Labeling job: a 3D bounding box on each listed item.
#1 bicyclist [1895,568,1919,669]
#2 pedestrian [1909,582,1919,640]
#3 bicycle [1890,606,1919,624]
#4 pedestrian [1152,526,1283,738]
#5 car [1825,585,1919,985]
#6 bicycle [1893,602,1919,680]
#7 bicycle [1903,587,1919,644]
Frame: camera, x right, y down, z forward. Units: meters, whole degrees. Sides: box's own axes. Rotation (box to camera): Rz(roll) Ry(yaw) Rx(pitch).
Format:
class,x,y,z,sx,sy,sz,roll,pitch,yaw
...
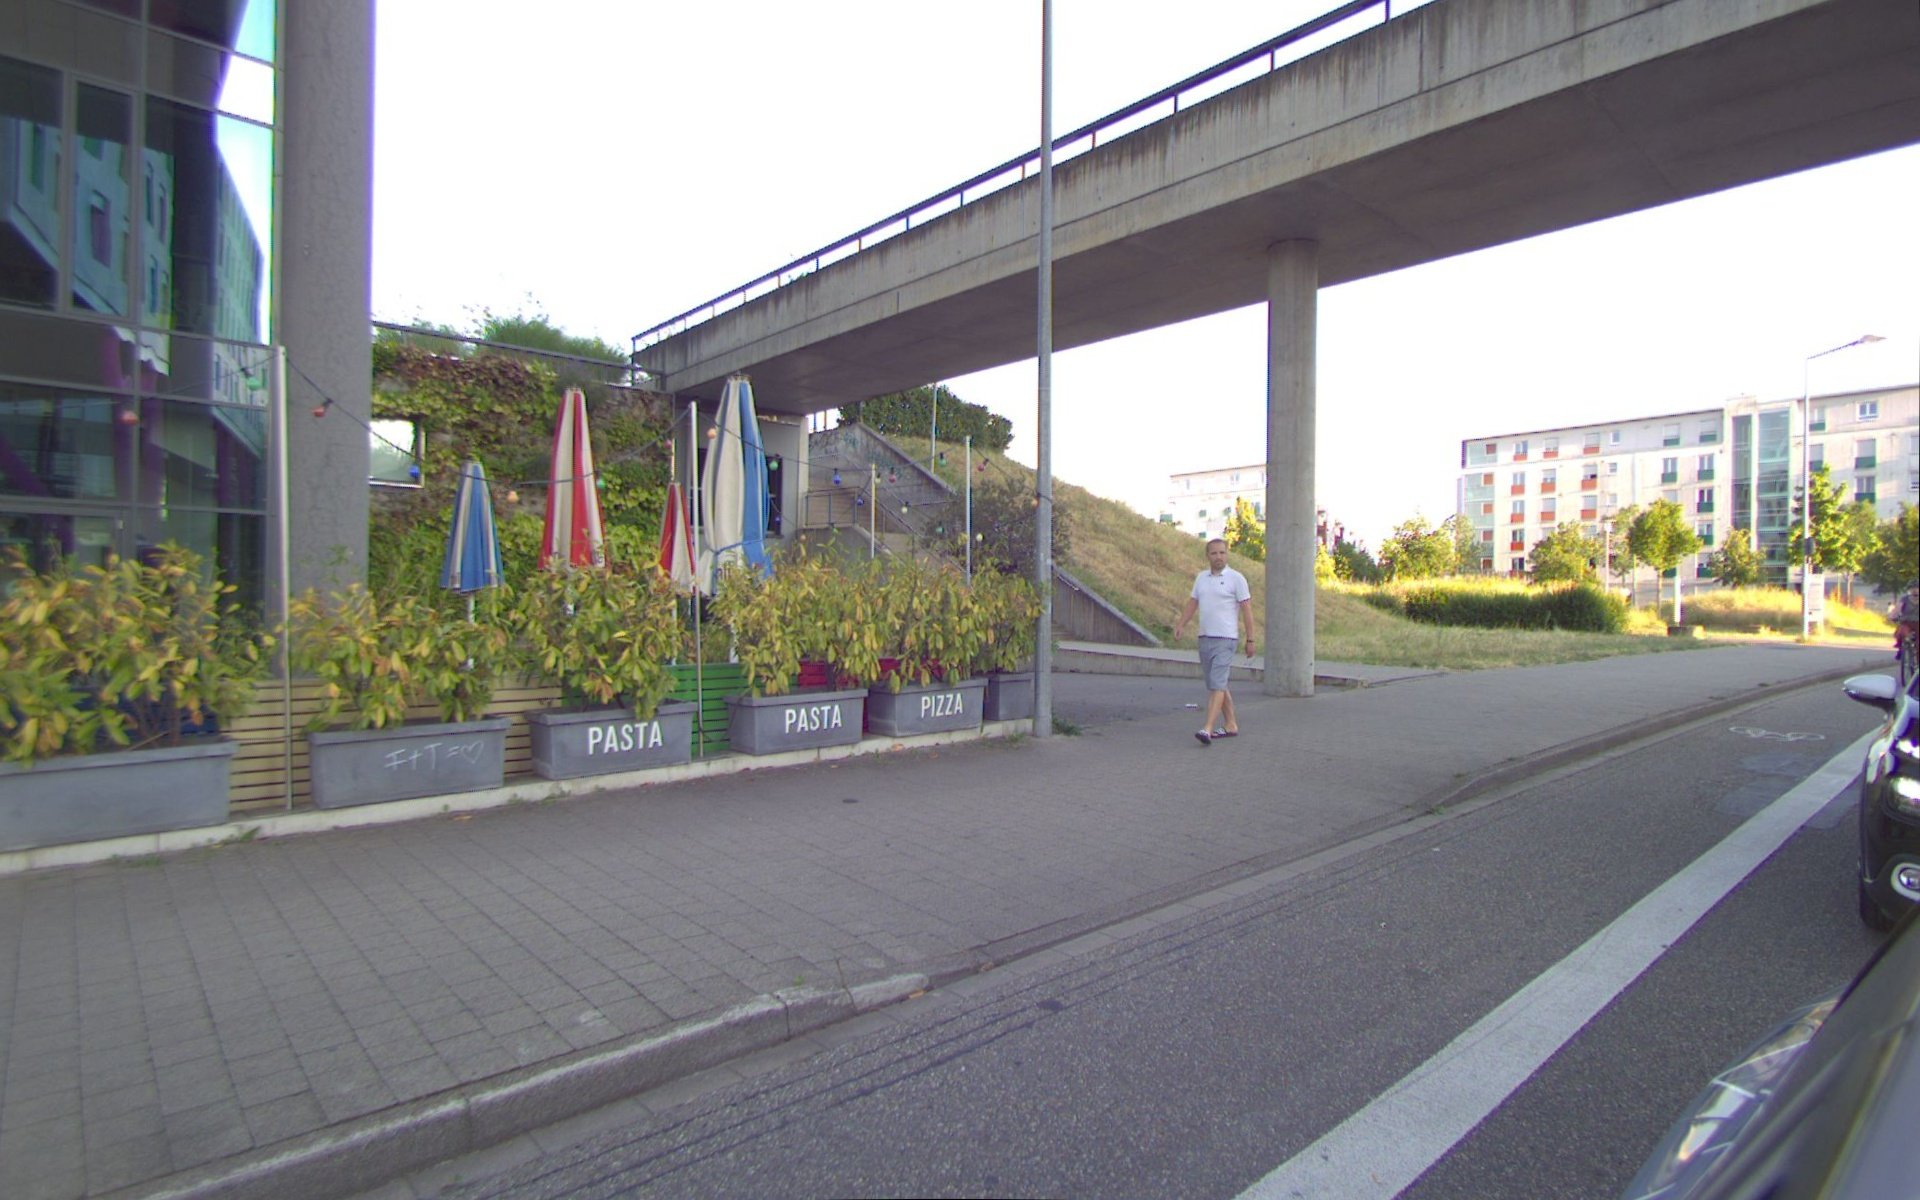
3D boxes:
class,x,y,z,sx,sy,sz,roll,pitch,yaw
bicyclist,16.223,0.306,16.971,0.837,1.660,0.696,1,-1,-40
pedestrian,27.909,0.329,29.109,0.844,1.650,0.737,1,2,-40
bicycle,63.644,0.988,67.965,0.892,1.163,3.464,0,0,28
pedestrian,2.270,0.262,8.911,0.890,1.746,0.737,1,0,-40
car,5.430,0.695,4.581,3.930,1.482,1.738,0,0,-41
bicycle,16.388,0.668,17.083,2.396,1.240,0.662,0,0,-40
bicycle,27.204,0.422,27.594,3.251,1.510,0.889,0,0,-22
